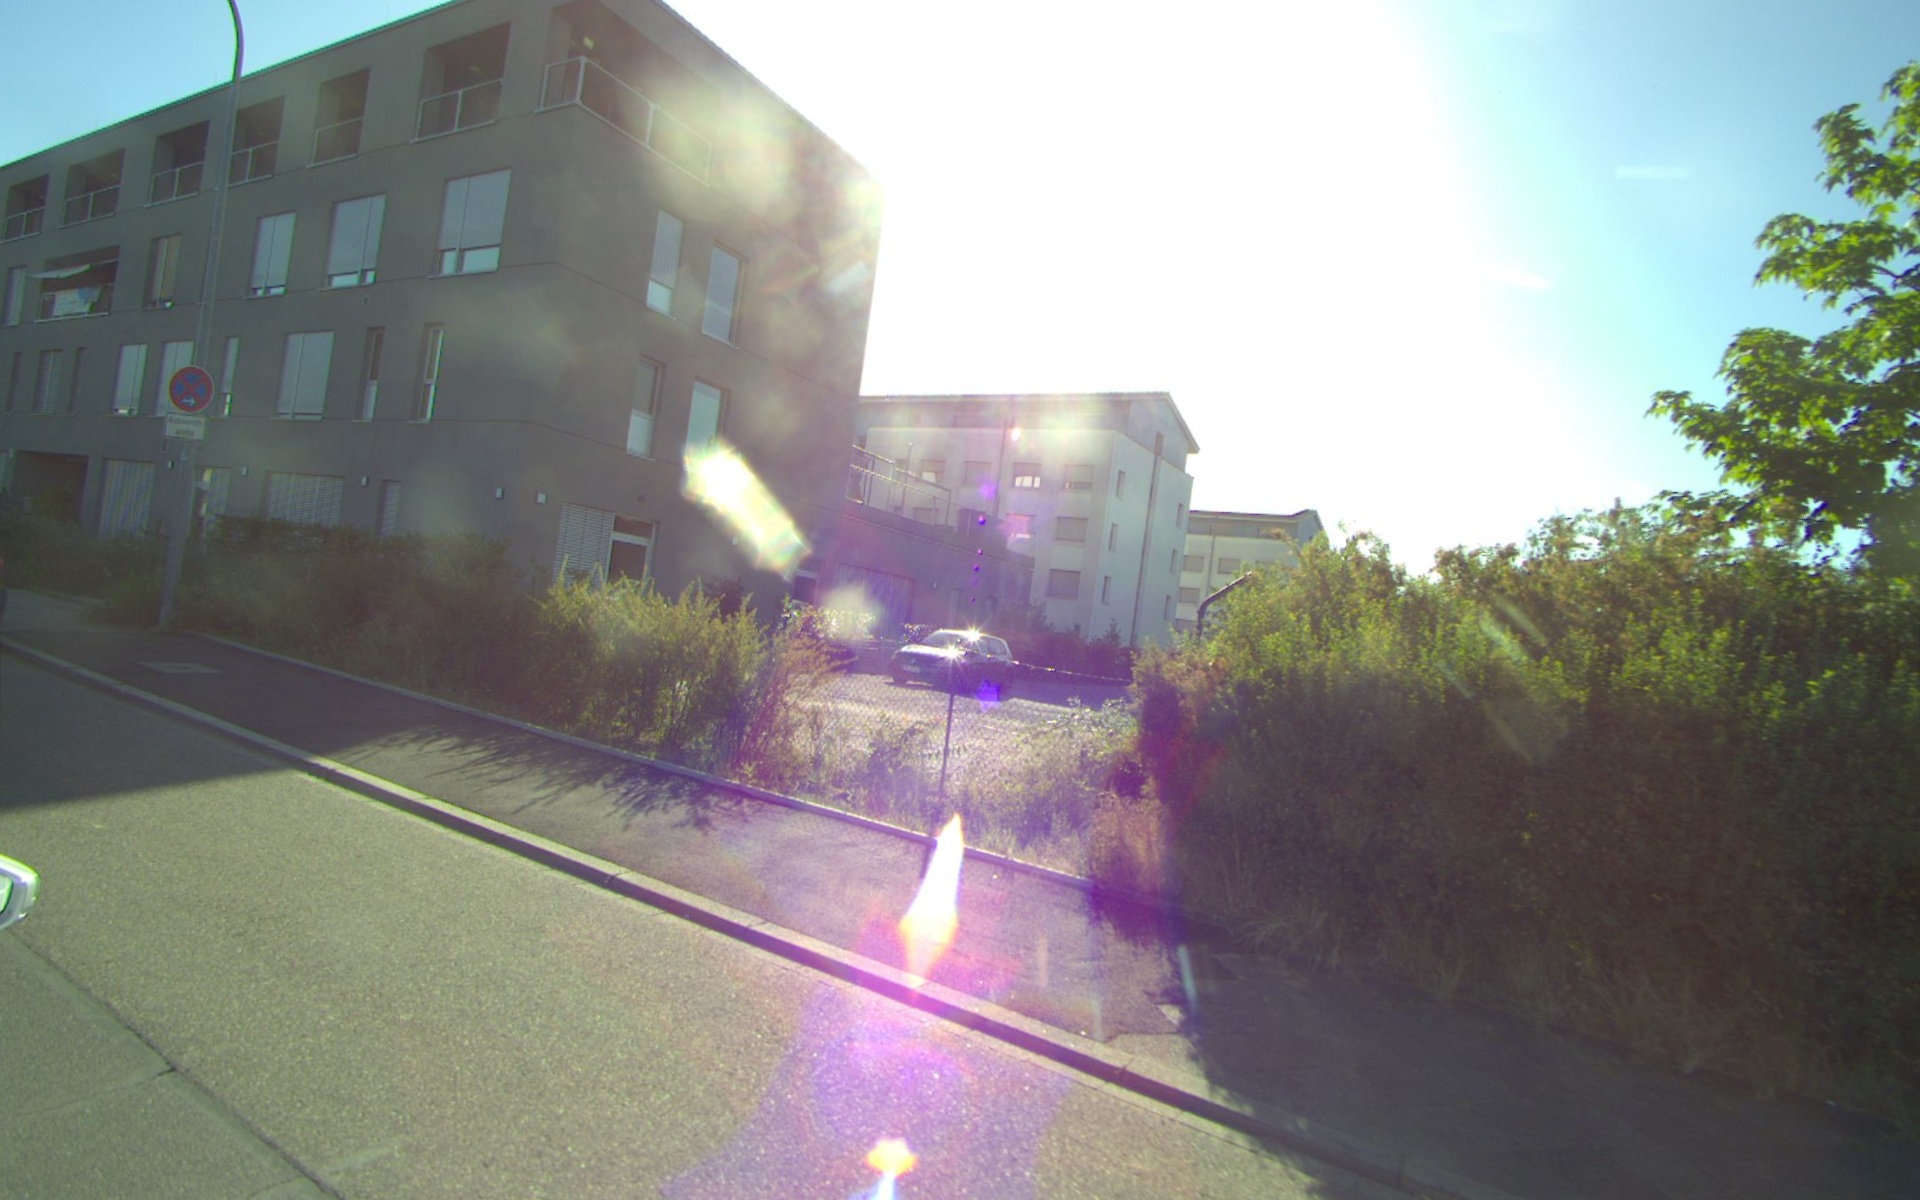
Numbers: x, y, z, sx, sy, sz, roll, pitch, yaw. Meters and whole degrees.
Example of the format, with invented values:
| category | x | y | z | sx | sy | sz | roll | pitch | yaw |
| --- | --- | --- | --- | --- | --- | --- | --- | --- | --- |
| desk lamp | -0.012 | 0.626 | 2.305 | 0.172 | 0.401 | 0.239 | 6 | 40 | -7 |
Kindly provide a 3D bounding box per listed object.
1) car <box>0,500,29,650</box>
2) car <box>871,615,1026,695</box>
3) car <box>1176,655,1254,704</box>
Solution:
| category | x | y | z | sx | sy | sz | roll | pitch | yaw |
| --- | --- | --- | --- | --- | --- | --- | --- | --- | --- |
| car | -11.122 | -0.462 | 10.031 | 3.838 | 1.542 | 1.627 | 7 | -4 | 33 |
| car | -0.182 | 1.408 | 24.823 | 1.854 | 1.544 | 4.127 | 7 | -2 | 29 |
| car | 9.675 | 3.016 | 37.988 | 1.616 | 1.559 | 3.895 | 7 | -1 | 32 |
